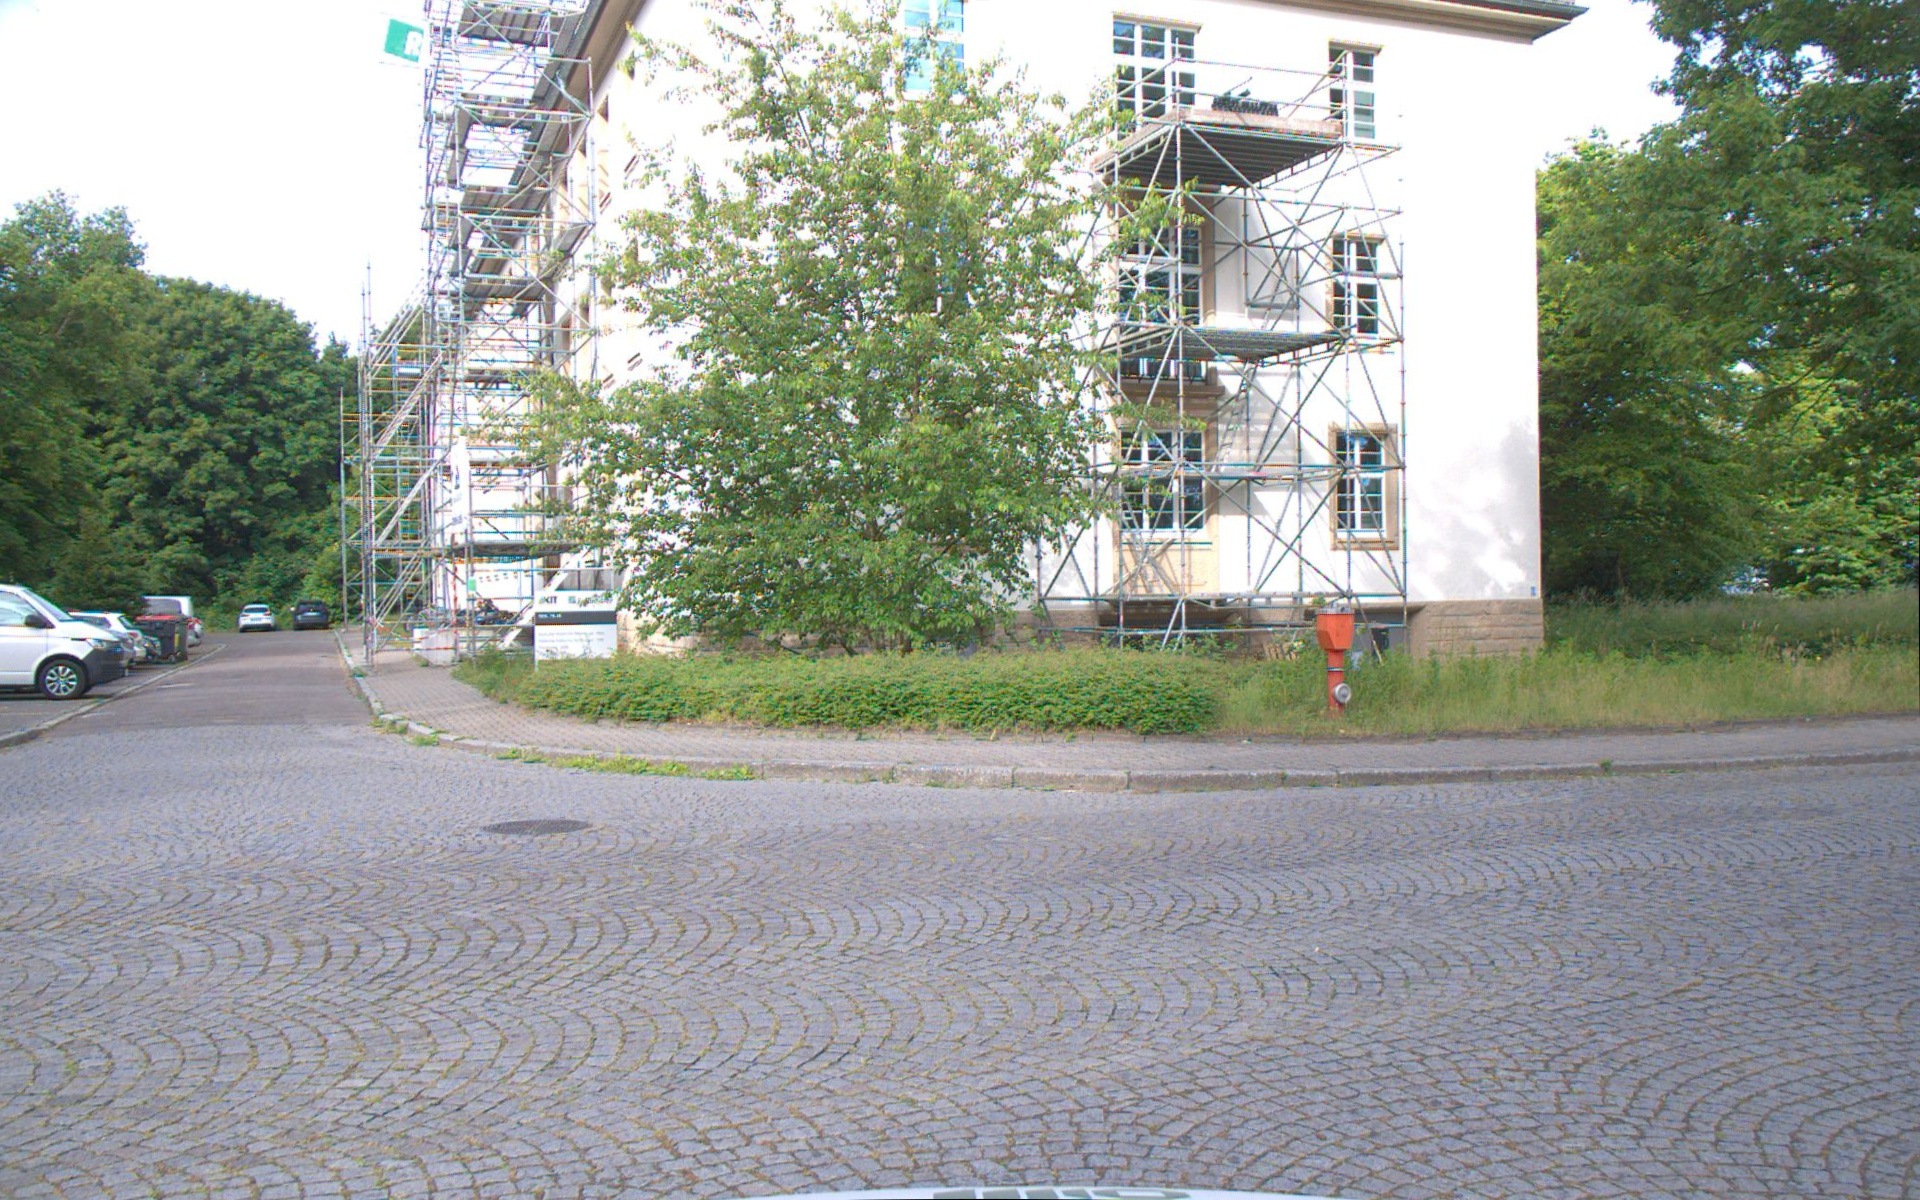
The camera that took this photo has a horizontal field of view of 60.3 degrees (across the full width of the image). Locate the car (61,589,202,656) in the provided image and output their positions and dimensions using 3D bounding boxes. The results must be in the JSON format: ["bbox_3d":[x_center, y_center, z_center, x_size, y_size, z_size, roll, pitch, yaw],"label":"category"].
[{"bbox_3d":[-26.664,0.743,53.391,3.937,2.049,1.906,2,-2,-26],"label":"car"}]

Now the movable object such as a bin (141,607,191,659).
[{"bbox_3d":[-22.599,0.946,47.090,1.166,1.432,0.969,2,-2,-21],"label":"movable object such as a bin"}]

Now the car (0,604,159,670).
[{"bbox_3d":[-21.489,0.886,39.839,3.566,1.507,1.814,1,-2,-14],"label":"car"}]

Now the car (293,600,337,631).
[{"bbox_3d":[-35.708,0.863,91.594,2.032,1.621,3.978,2,-2,-19],"label":"car"}]

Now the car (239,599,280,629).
[{"bbox_3d":[-38.269,0.788,90.328,1.975,1.575,3.928,2,-2,-24],"label":"car"}]

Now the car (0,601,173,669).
[{"bbox_3d":[-22.159,0.890,41.975,3.620,1.620,1.757,1,-2,-15],"label":"car"}]

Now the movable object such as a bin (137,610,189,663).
[{"bbox_3d":[-22.127,1.005,45.928,1.166,1.432,0.969,2,-2,-21],"label":"movable object such as a bin"}]

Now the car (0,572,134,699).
[{"bbox_3d":[-17.022,0.605,28.141,5.129,2.096,2.173,0,-1,-23],"label":"car"}]
